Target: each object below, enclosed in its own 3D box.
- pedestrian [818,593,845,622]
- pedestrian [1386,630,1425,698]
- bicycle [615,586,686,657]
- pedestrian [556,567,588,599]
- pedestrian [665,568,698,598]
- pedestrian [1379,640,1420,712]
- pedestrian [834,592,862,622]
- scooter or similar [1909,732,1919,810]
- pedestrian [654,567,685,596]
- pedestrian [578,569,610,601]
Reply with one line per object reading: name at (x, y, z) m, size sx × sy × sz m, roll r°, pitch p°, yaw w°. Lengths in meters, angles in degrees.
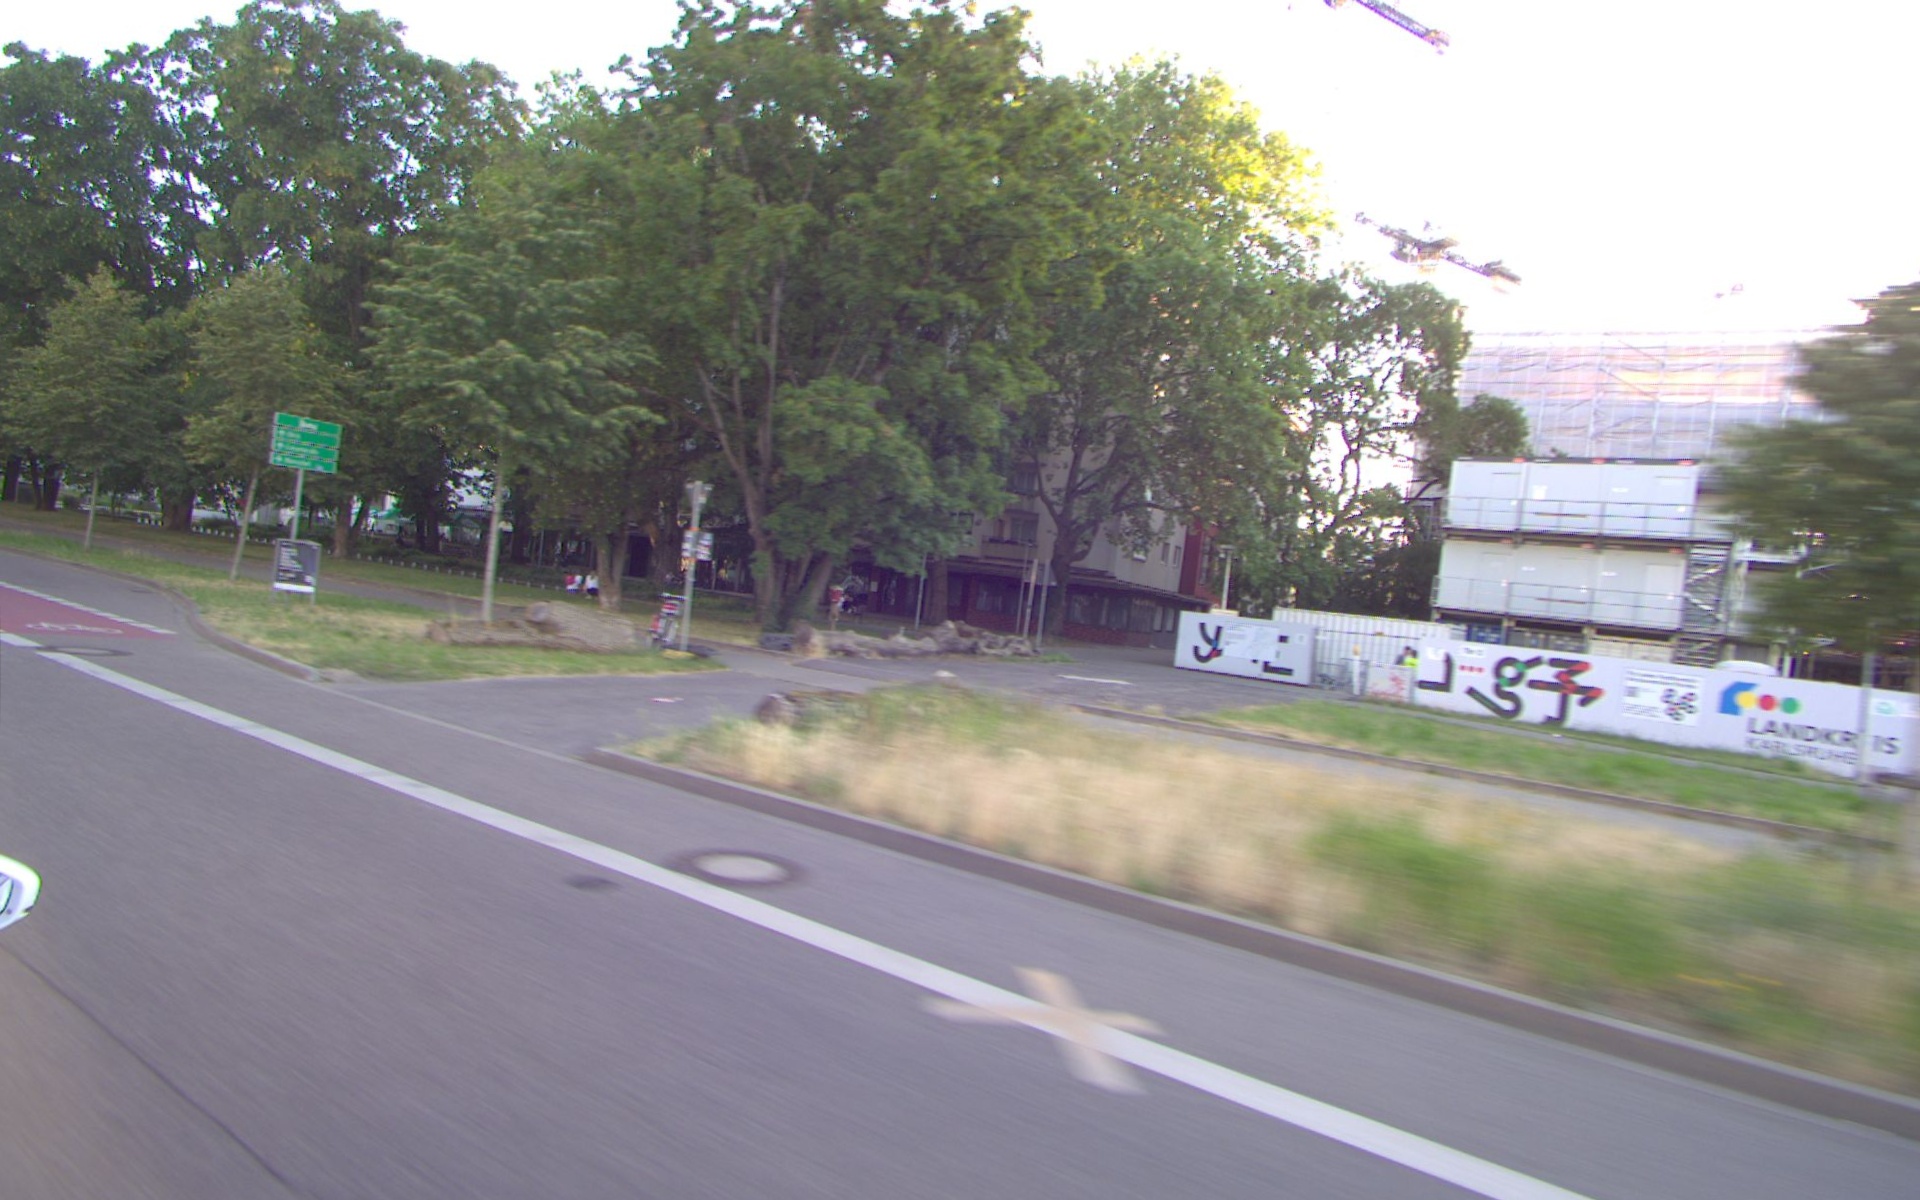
pedestrian at (-5.541, 0.331, 43.491) m, size 0.753 × 1.179 × 0.787 m, roll 7°, pitch 1°, yaw 26°
pedestrian at (13.025, 1.872, 29.428) m, size 0.764 × 1.880 × 0.592 m, roll 5°, pitch 2°, yaw -44°
bicycle at (-5.426, 0.356, 17.554) m, size 0.491 × 1.019 × 1.877 m, roll 2°, pitch 4°, yaw -38°
pedestrian at (-11.840, -0.525, 30.736) m, size 0.582 × 0.895 × 0.681 m, roll 6°, pitch 1°, yaw 7°
pedestrian at (-13.355, -0.799, 48.218) m, size 0.891 × 1.276 × 1.132 m, roll 7°, pitch 1°, yaw 34°
pedestrian at (12.313, 2.135, 28.205) m, size 0.764 × 1.943 × 0.592 m, roll 5°, pitch 2°, yaw -44°
pedestrian at (-4.799, 0.320, 43.133) m, size 0.753 × 1.179 × 0.787 m, roll 7°, pitch 1°, yaw 26°
scooter or similar at (15.284, 2.638, 14.933) m, size 1.546 × 1.237 × 0.473 m, roll 7°, pitch 4°, yaw 25°
pedestrian at (-14.090, -0.899, 48.796) m, size 0.714 × 1.276 × 1.132 m, roll 7°, pitch 1°, yaw 34°
pedestrian at (-11.147, -0.462, 30.648) m, size 0.611 × 0.896 × 0.681 m, roll 6°, pitch 1°, yaw 7°
